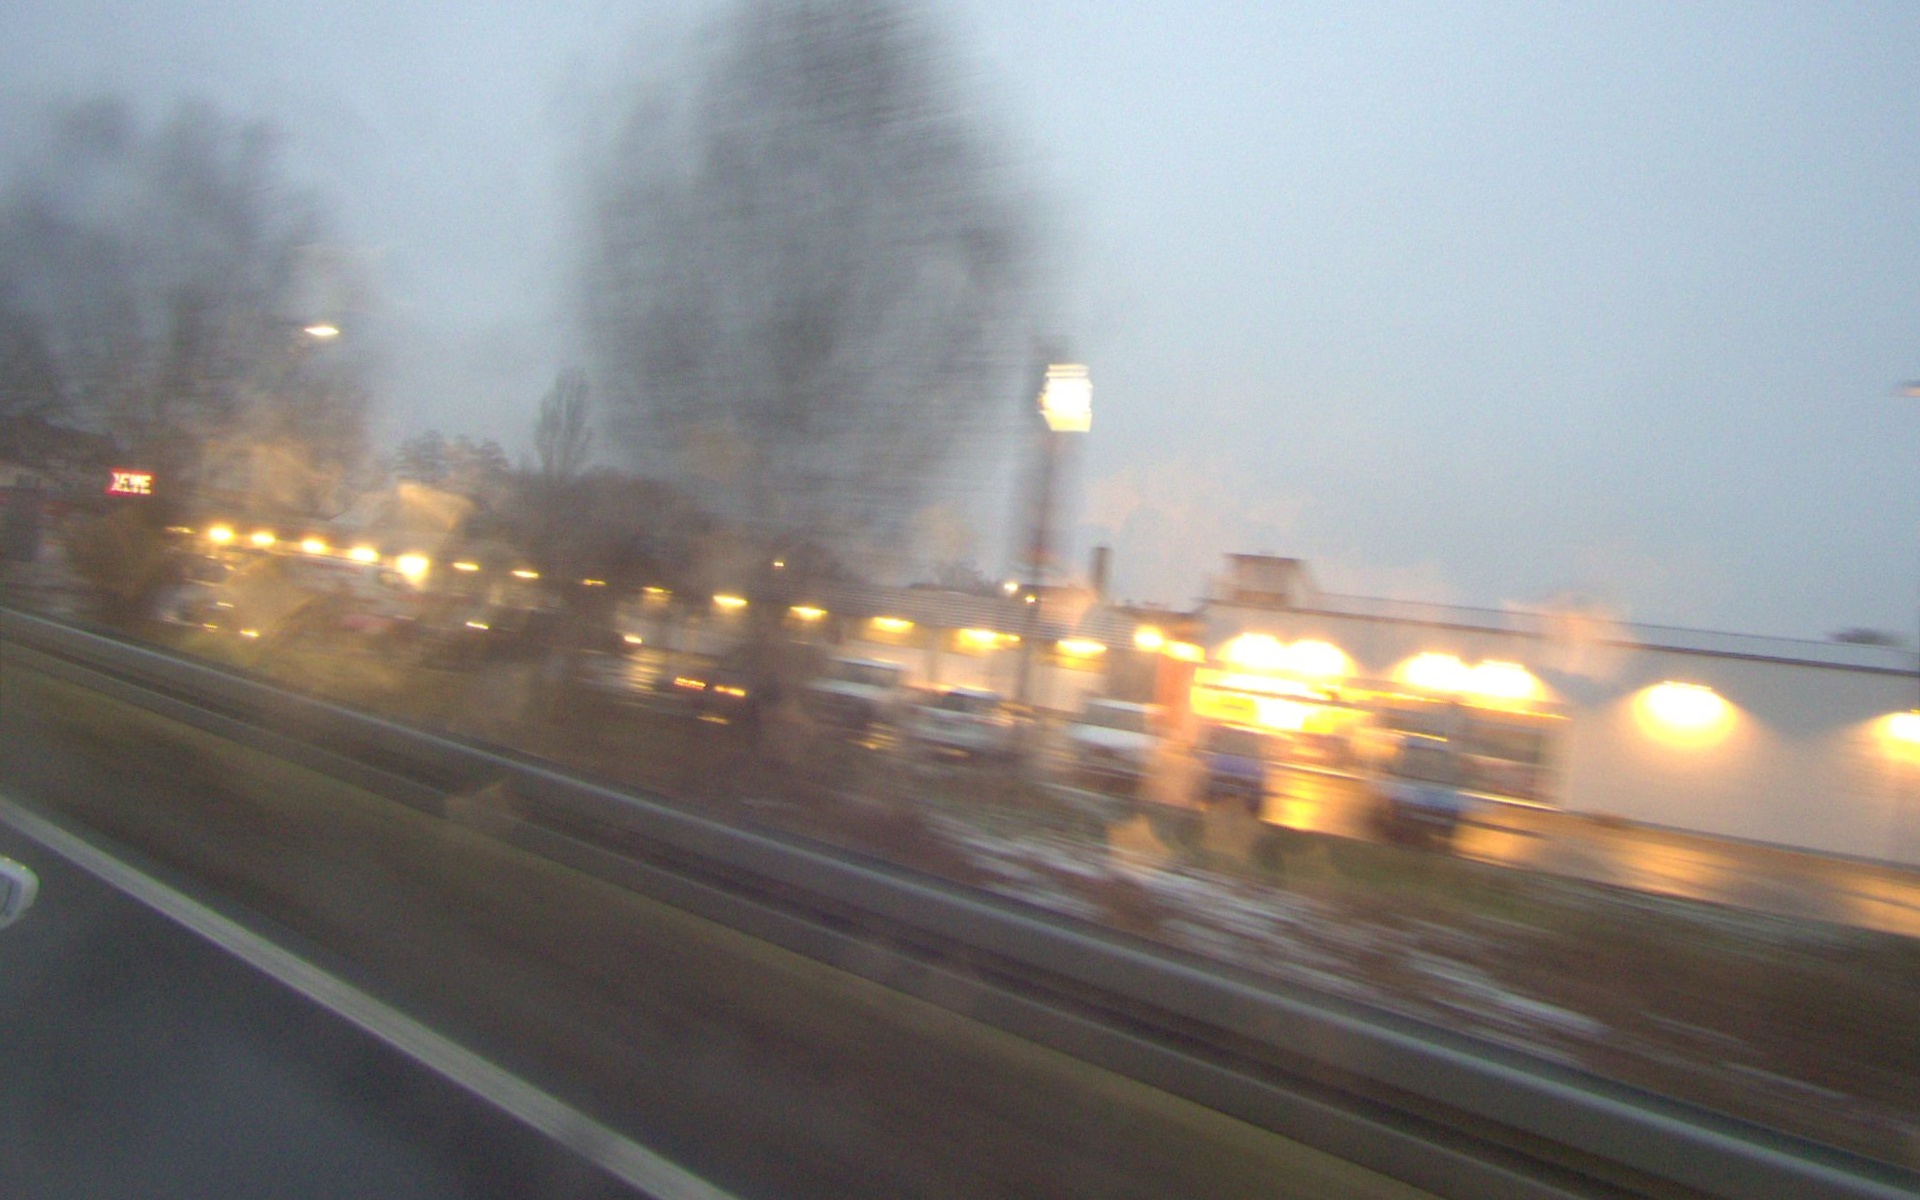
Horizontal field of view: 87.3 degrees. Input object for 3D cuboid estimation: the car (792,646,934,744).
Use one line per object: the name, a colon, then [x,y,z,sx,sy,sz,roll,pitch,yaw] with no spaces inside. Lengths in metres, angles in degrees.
car: [-2.093,2.185,22.988,1.631,1.855,4.148,6,-4,16]

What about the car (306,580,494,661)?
car: [-14.910,0.632,27.092,1.983,1.744,4.146,7,-2,13]

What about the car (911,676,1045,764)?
car: [0.502,2.516,21.933,1.631,1.440,4.140,6,0,19]

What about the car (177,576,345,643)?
car: [-19.985,0.326,28.932,1.632,1.439,3.552,5,-4,21]

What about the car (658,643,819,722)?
car: [-5.071,1.935,23.818,1.631,1.506,4.742,6,-3,15]

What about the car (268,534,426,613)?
car: [-27.823,-1.137,45.874,5.548,2.806,2.096,7,-4,-18]

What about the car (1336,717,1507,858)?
car: [8.554,3.398,19.082,1.962,1.875,4.267,8,-2,14]

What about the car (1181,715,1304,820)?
car: [5.529,3.219,19.997,1.962,1.493,3.884,8,-4,14]

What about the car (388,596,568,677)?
car: [-12.462,1.007,26.355,1.983,1.749,4.146,6,-2,12]

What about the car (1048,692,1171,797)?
car: [3.259,2.938,21.165,1.962,1.647,4.270,8,-3,14]
